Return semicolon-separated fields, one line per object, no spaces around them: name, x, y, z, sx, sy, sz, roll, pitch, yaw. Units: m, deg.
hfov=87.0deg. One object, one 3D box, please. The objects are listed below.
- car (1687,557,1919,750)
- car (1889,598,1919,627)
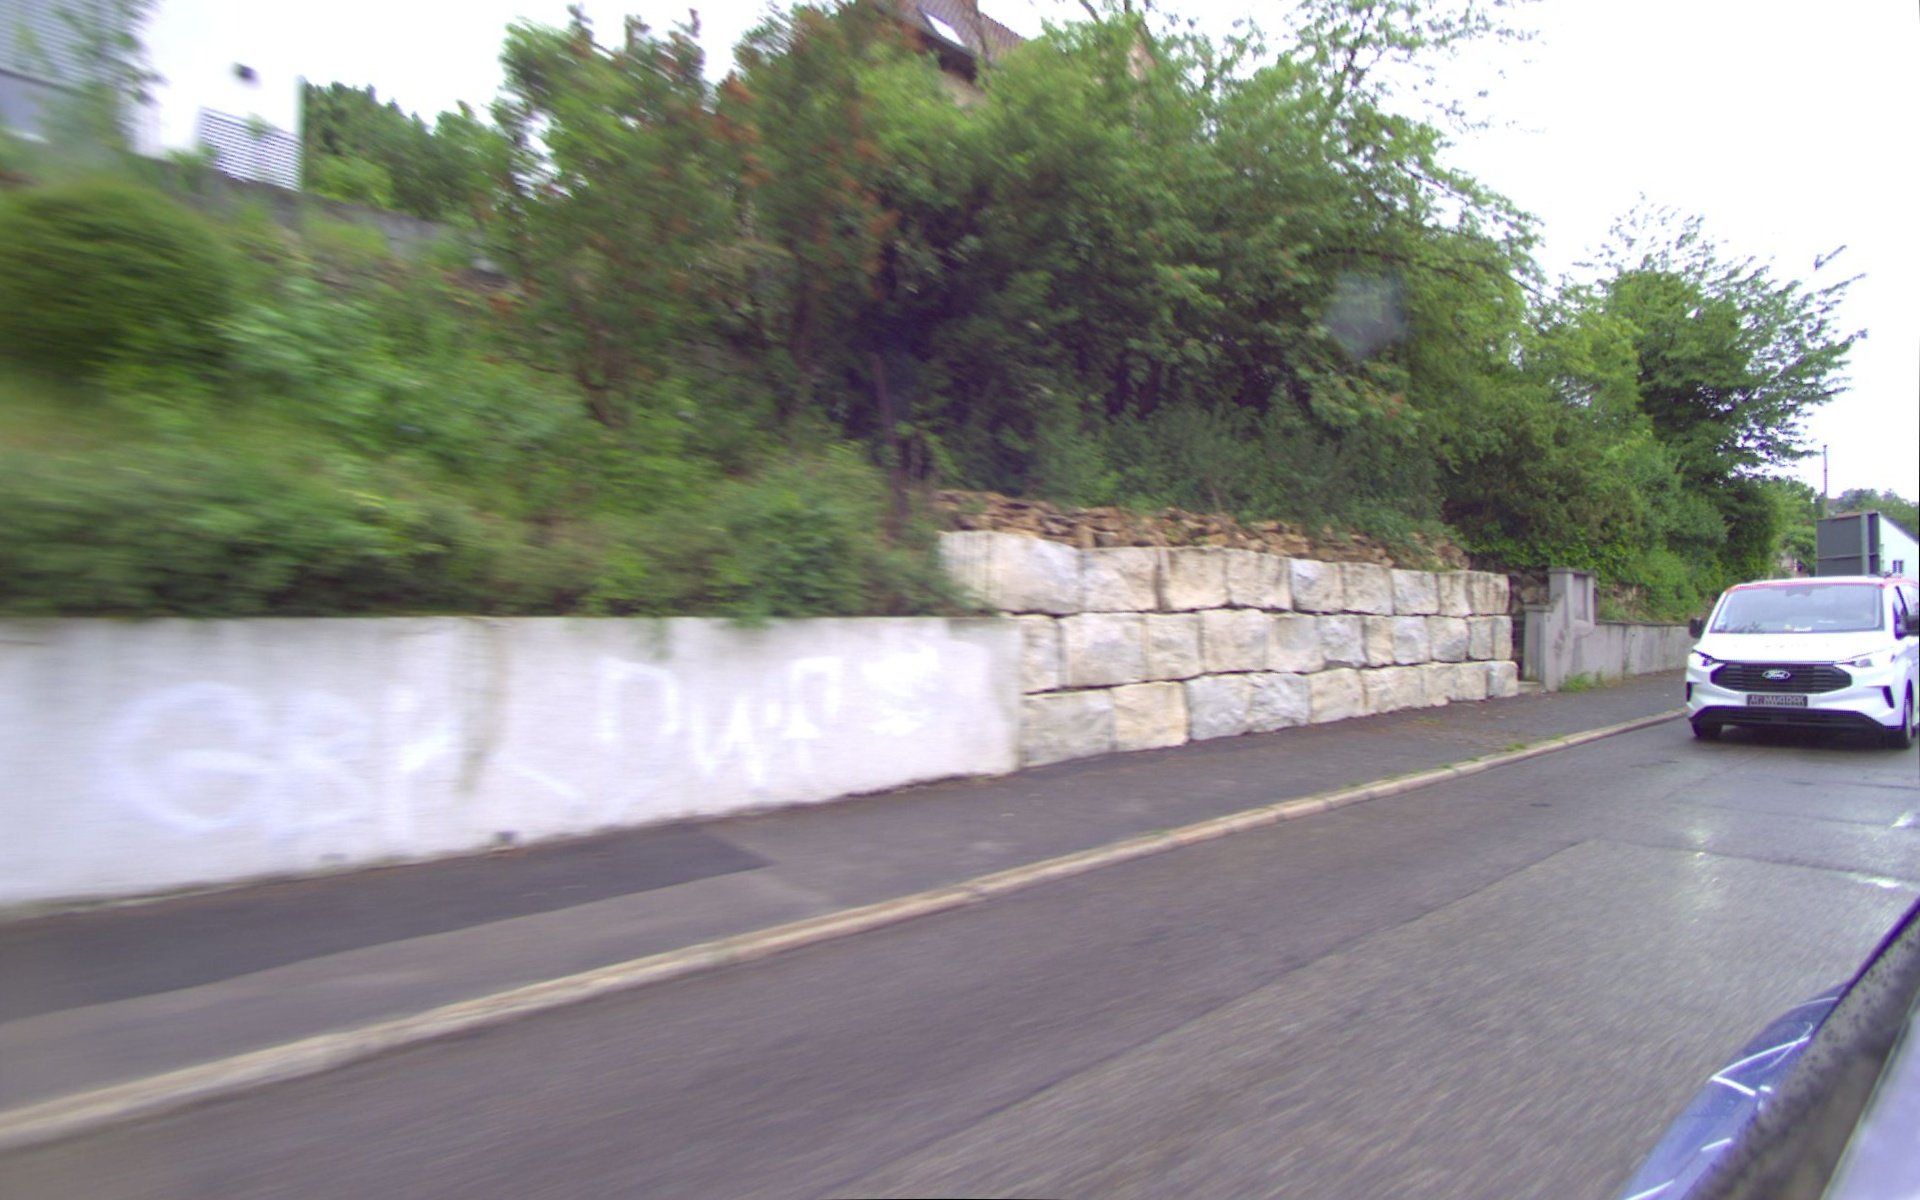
car;10.801;0.572;12.459;4.437;1.964;2.039;0;-2;-42
car;52.199;0.654;55.029;1.670;1.502;4.154;-2;-1;31
